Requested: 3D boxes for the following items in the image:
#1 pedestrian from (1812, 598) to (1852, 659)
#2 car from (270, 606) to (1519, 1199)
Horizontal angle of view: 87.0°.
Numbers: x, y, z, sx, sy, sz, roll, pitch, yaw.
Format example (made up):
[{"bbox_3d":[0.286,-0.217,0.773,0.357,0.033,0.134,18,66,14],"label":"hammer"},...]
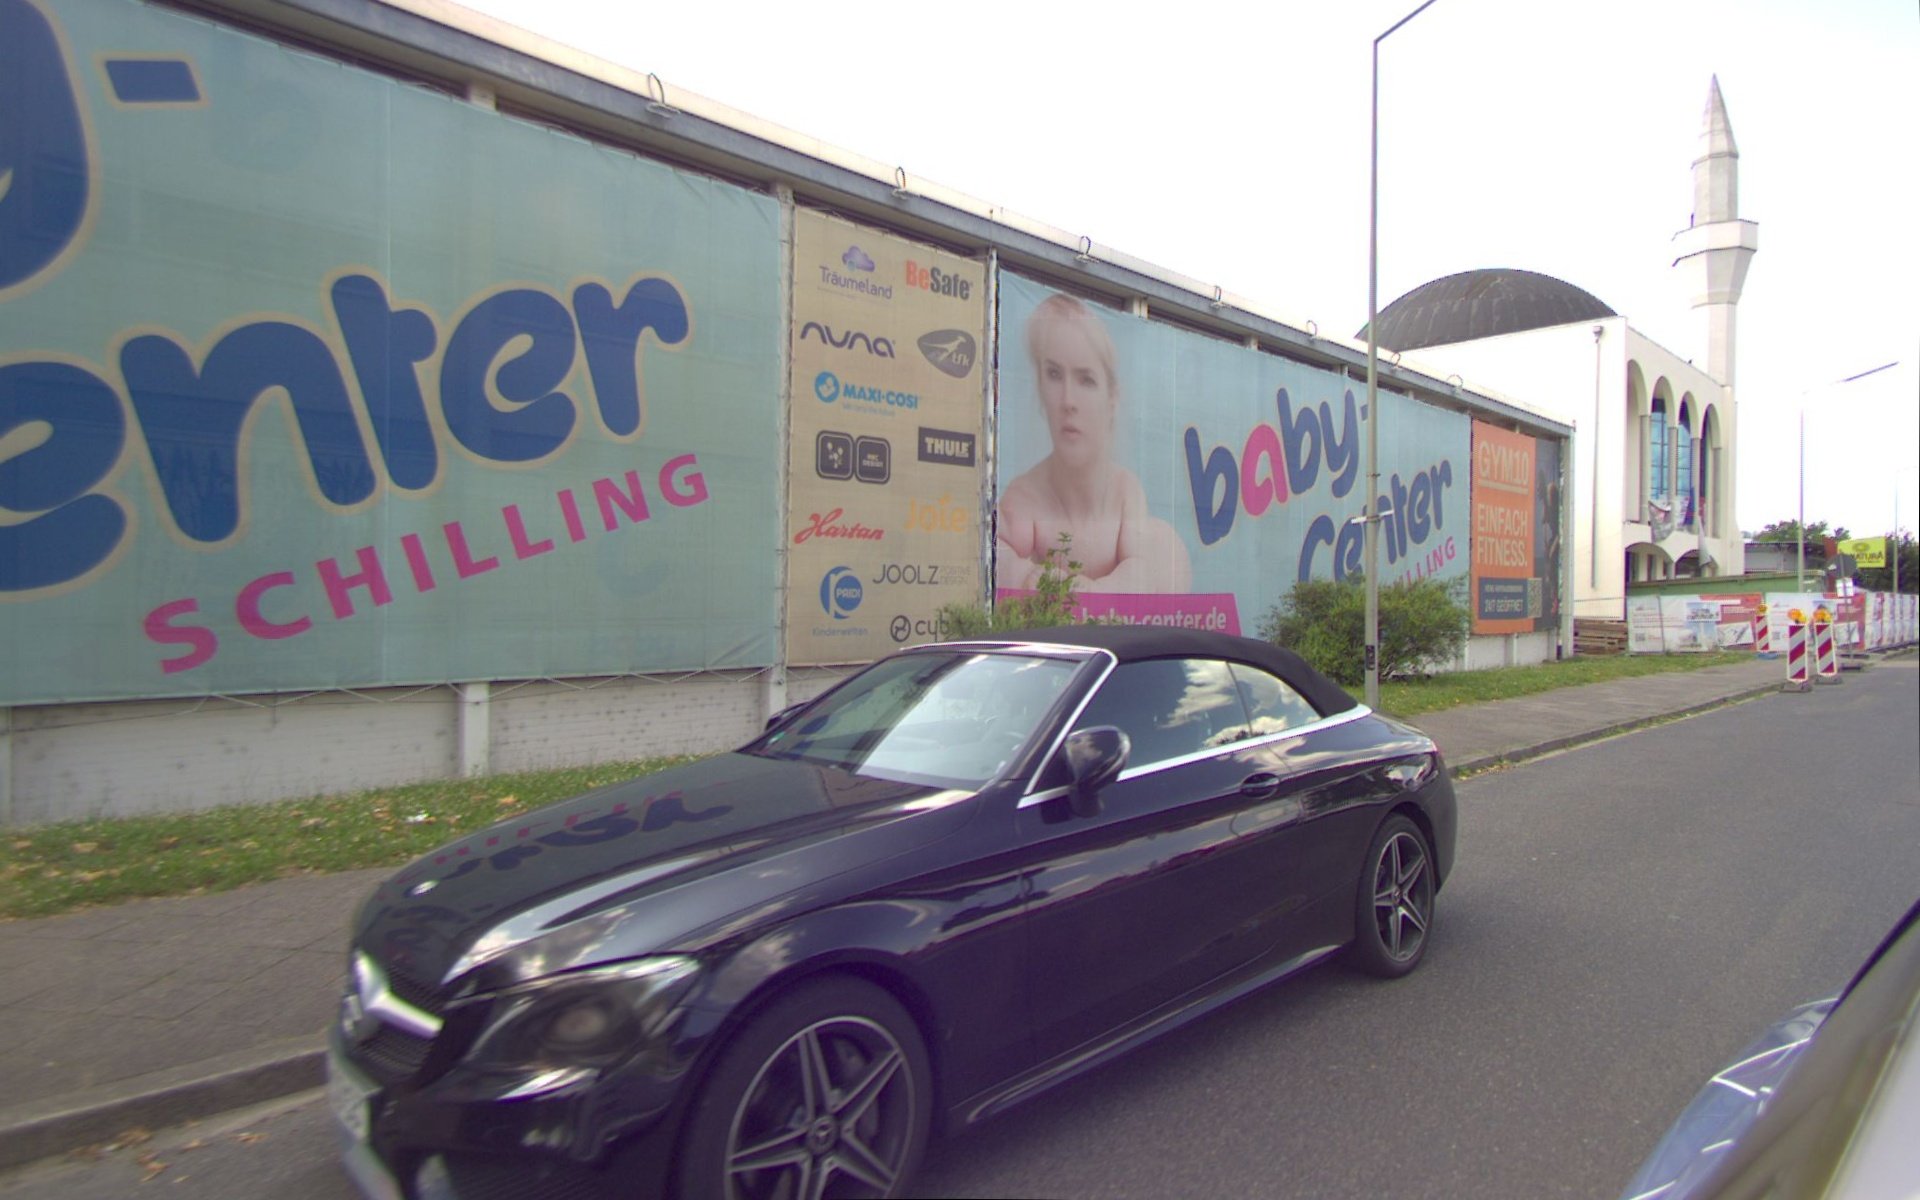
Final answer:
[{"bbox_3d":[23.176,0.736,26.895,1.111,1.553,0.682,0,0,-43],"label":"pedestrian"},{"bbox_3d":[0.217,0.755,3.814,4.507,1.409,1.811,0,-2,-40],"label":"car"}]
